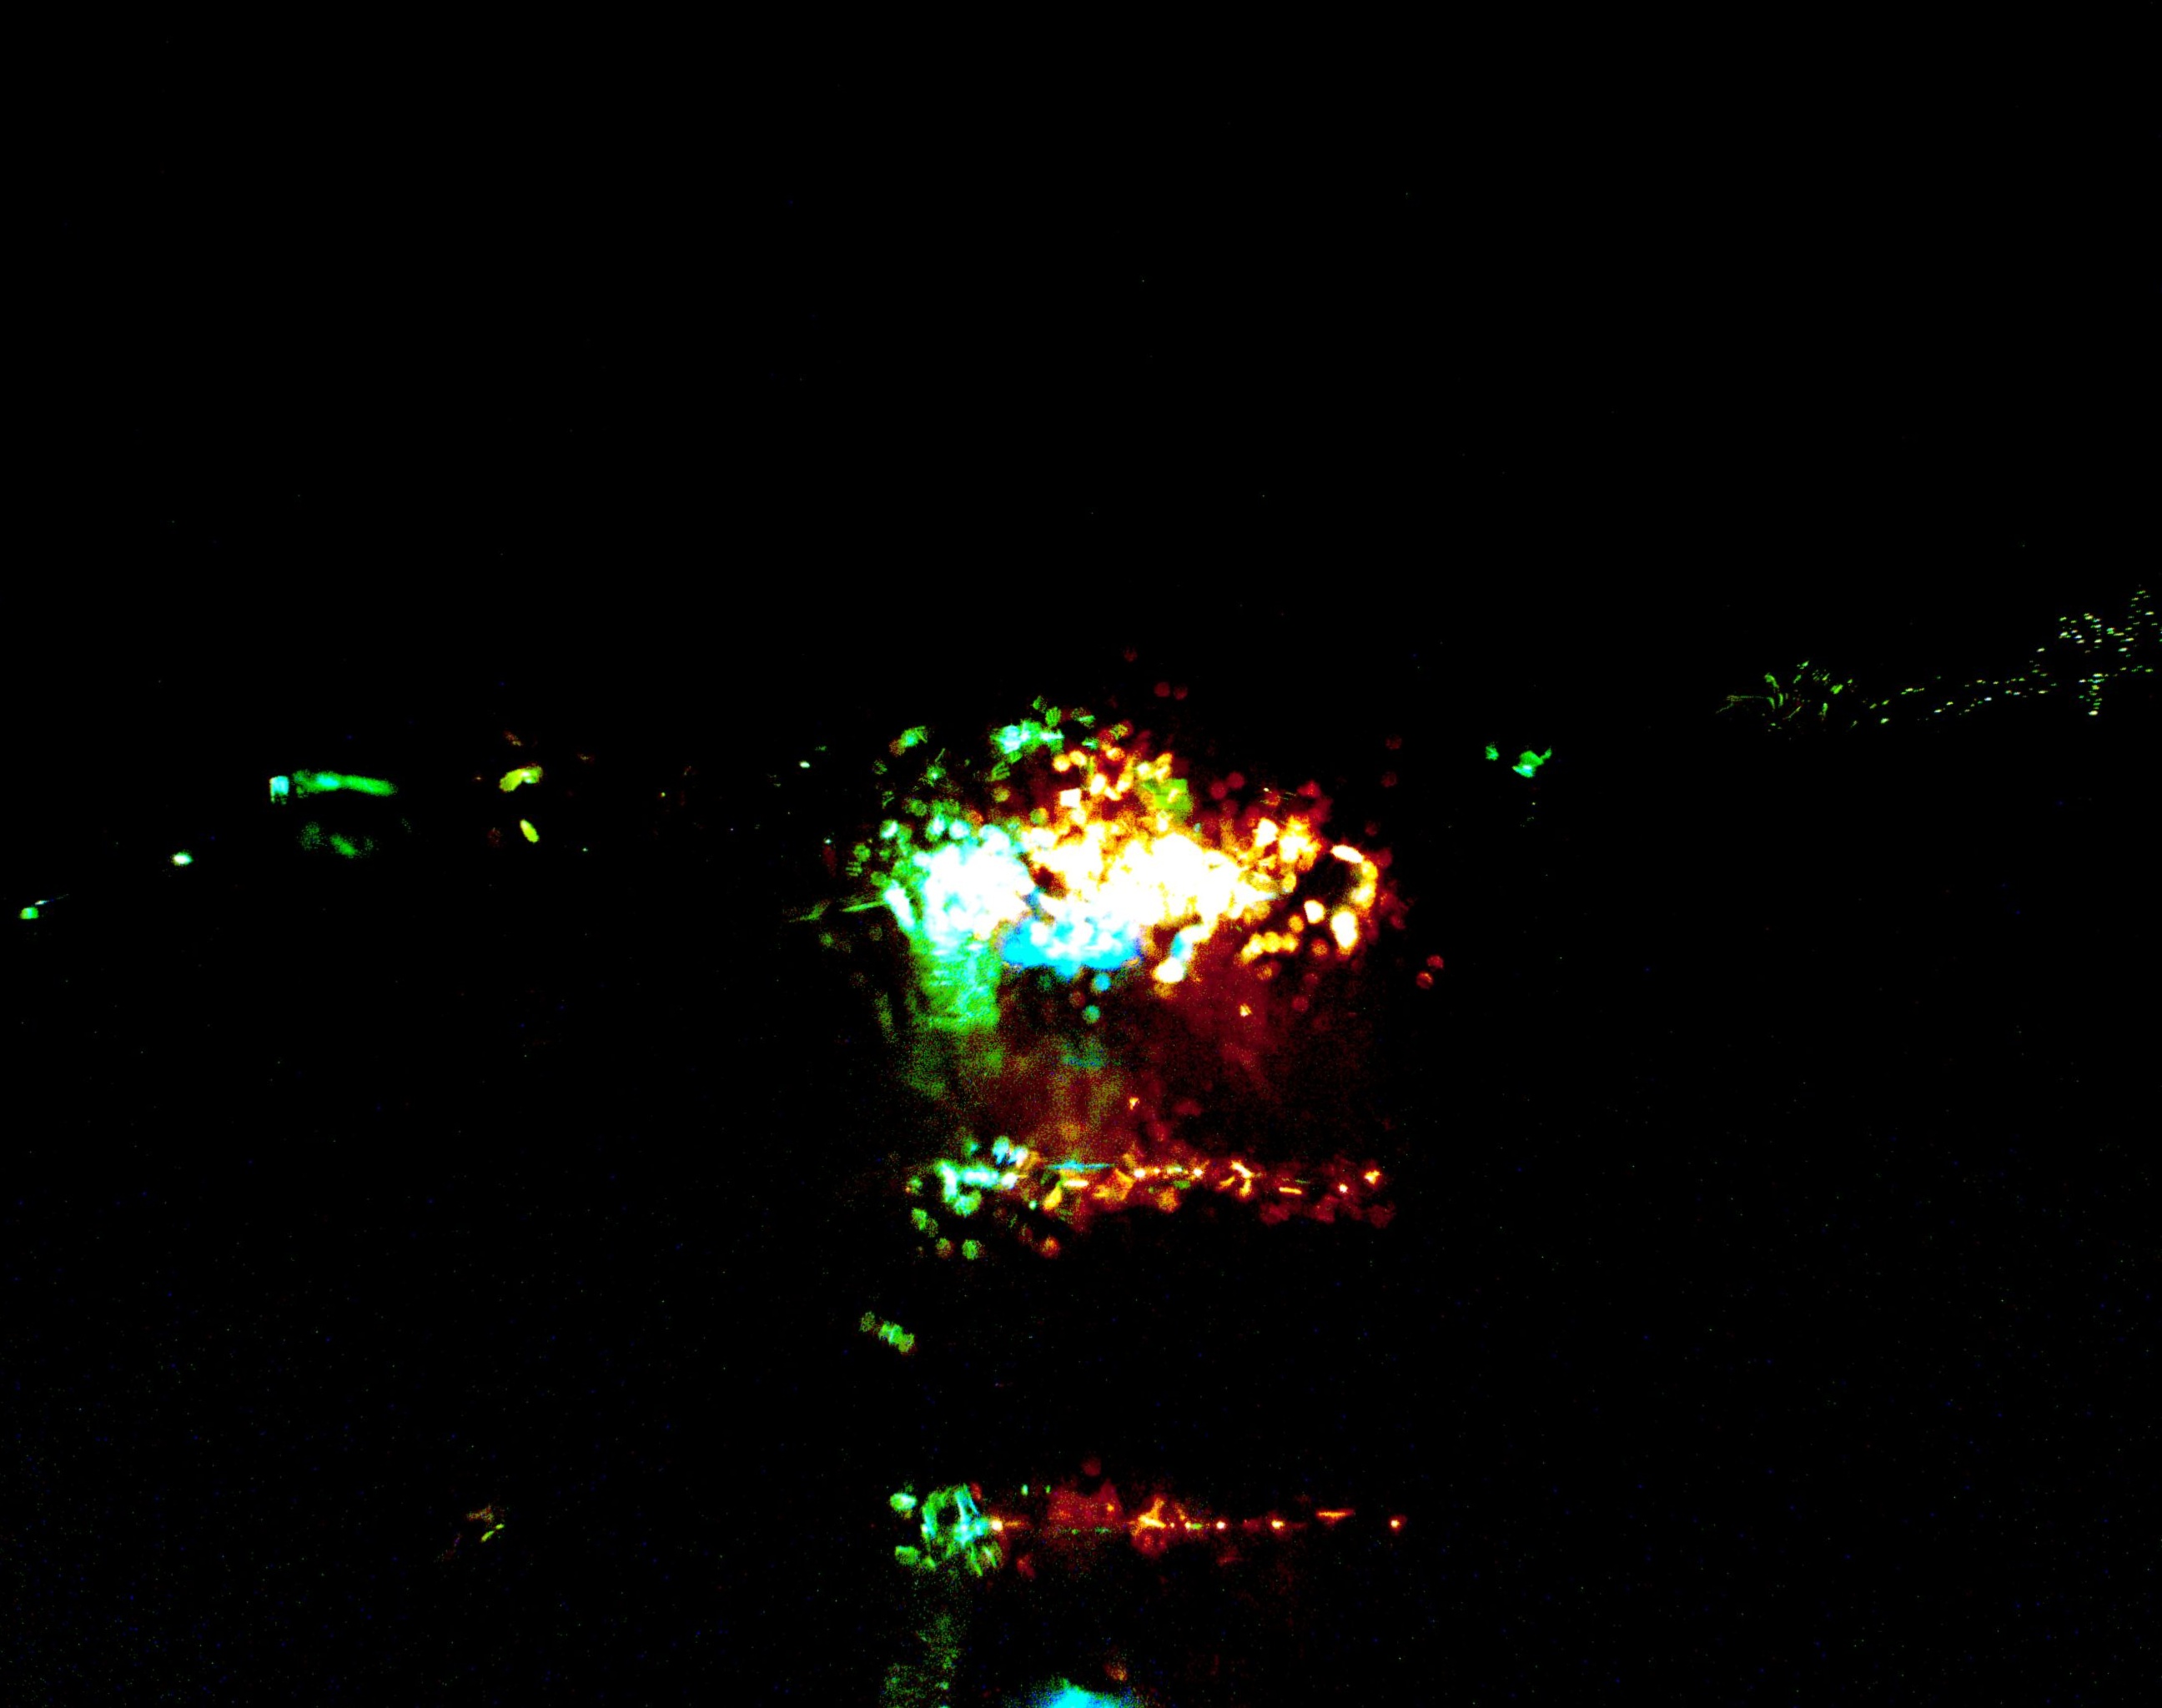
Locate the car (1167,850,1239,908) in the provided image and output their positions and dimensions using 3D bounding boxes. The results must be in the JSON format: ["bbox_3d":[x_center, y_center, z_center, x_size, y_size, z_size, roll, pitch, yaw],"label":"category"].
[{"bbox_3d":[3.334,0.635,22.926,1.759,1.450,4.224,-1,0,5],"label":"car"}]

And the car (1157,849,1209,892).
[{"bbox_3d":[3.726,0.590,30.207,1.656,1.450,4.054,-2,-1,4],"label":"car"}]

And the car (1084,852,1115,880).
[{"bbox_3d":[1.101,0.713,51.094,1.704,1.638,3.728,-3,0,-2],"label":"car"}]

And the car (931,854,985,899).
[{"bbox_3d":[-5.619,0.982,37.731,1.989,1.912,4.737,-1,0,-3],"label":"car"}]

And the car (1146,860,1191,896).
[{"bbox_3d":[3.875,1.047,36.700,1.657,1.450,4.051,-1,0,1],"label":"car"}]

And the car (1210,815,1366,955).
[{"bbox_3d":[3.266,0.430,13.703,1.932,1.972,4.225,-1,0,6],"label":"car"}]

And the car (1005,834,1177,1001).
[{"bbox_3d":[0.159,0.638,9.980,1.688,1.630,3.854,-1,0,2],"label":"car"}]

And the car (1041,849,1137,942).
[{"bbox_3d":[0.227,0.762,16.962,1.702,1.638,3.732,-3,0,2],"label":"car"}]

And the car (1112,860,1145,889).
[{"bbox_3d":[2.508,1.057,43.712,1.657,1.450,4.051,-1,-1,1],"label":"car"}]
